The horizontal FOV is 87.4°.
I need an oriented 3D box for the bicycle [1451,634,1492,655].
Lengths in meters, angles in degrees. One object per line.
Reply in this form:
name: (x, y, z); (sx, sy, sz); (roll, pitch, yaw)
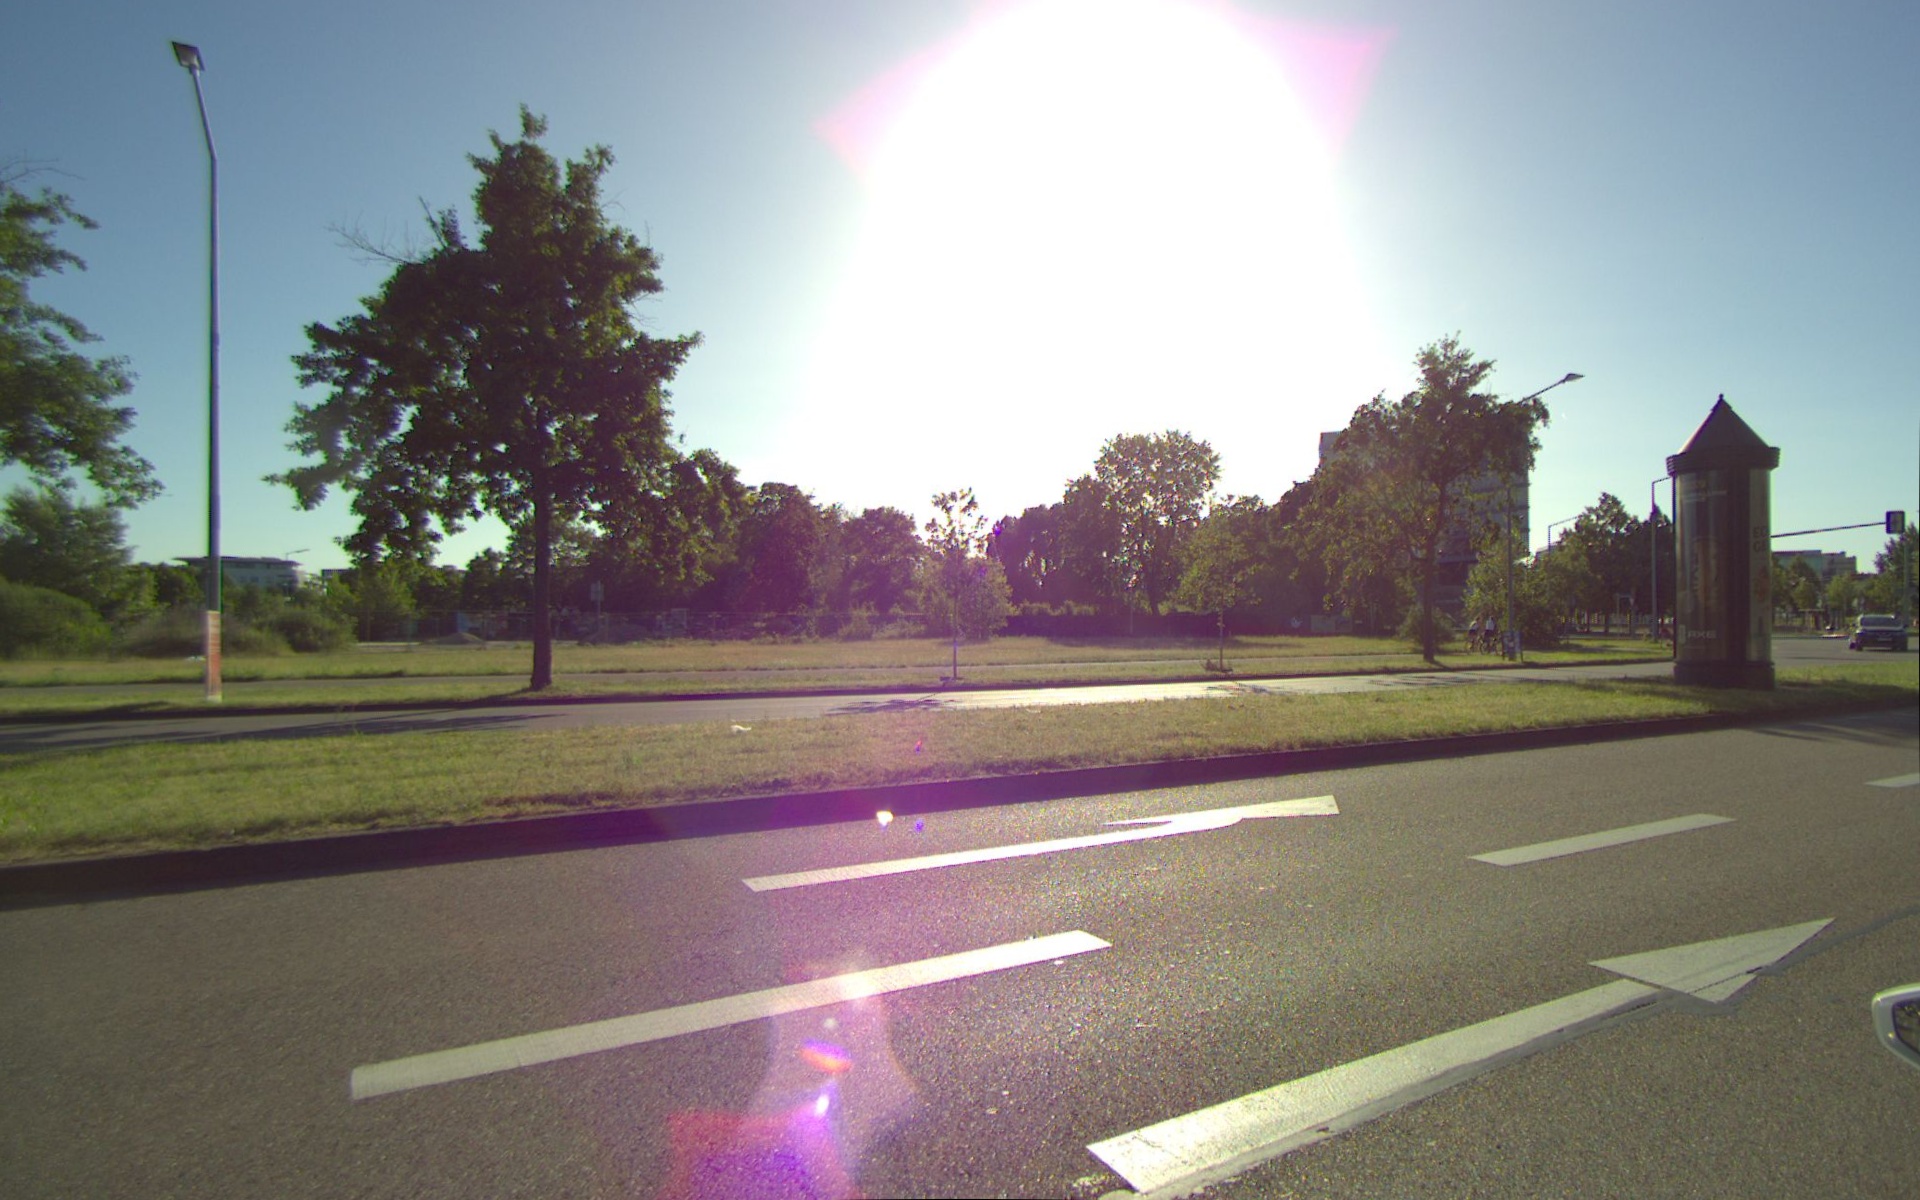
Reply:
bicycle: (23.007, 1.994, 45.179); (1.864, 0.864, 0.613); (0, -1, -26)

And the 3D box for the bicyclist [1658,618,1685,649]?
bicyclist: (35.364, 1.662, 49.929); (0.608, 1.537, 0.920); (0, -1, -23)

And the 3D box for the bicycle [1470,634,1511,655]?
bicycle: (23.221, 1.942, 43.955); (1.864, 0.864, 0.613); (0, -1, -26)

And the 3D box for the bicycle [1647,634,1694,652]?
bicycle: (35.343, 2.133, 49.970); (0.608, 0.864, 1.878); (0, -1, -23)

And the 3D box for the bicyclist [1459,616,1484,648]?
bicyclist: (23.004, 1.439, 45.177); (0.826, 1.411, 0.613); (0, -1, -26)

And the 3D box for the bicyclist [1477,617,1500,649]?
bicyclist: (23.116, 1.441, 43.937); (0.709, 1.411, 0.613); (0, -1, -26)

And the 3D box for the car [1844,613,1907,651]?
car: (44.901, 1.553, 49.361); (1.969, 1.762, 4.718); (-1, -2, 39)
